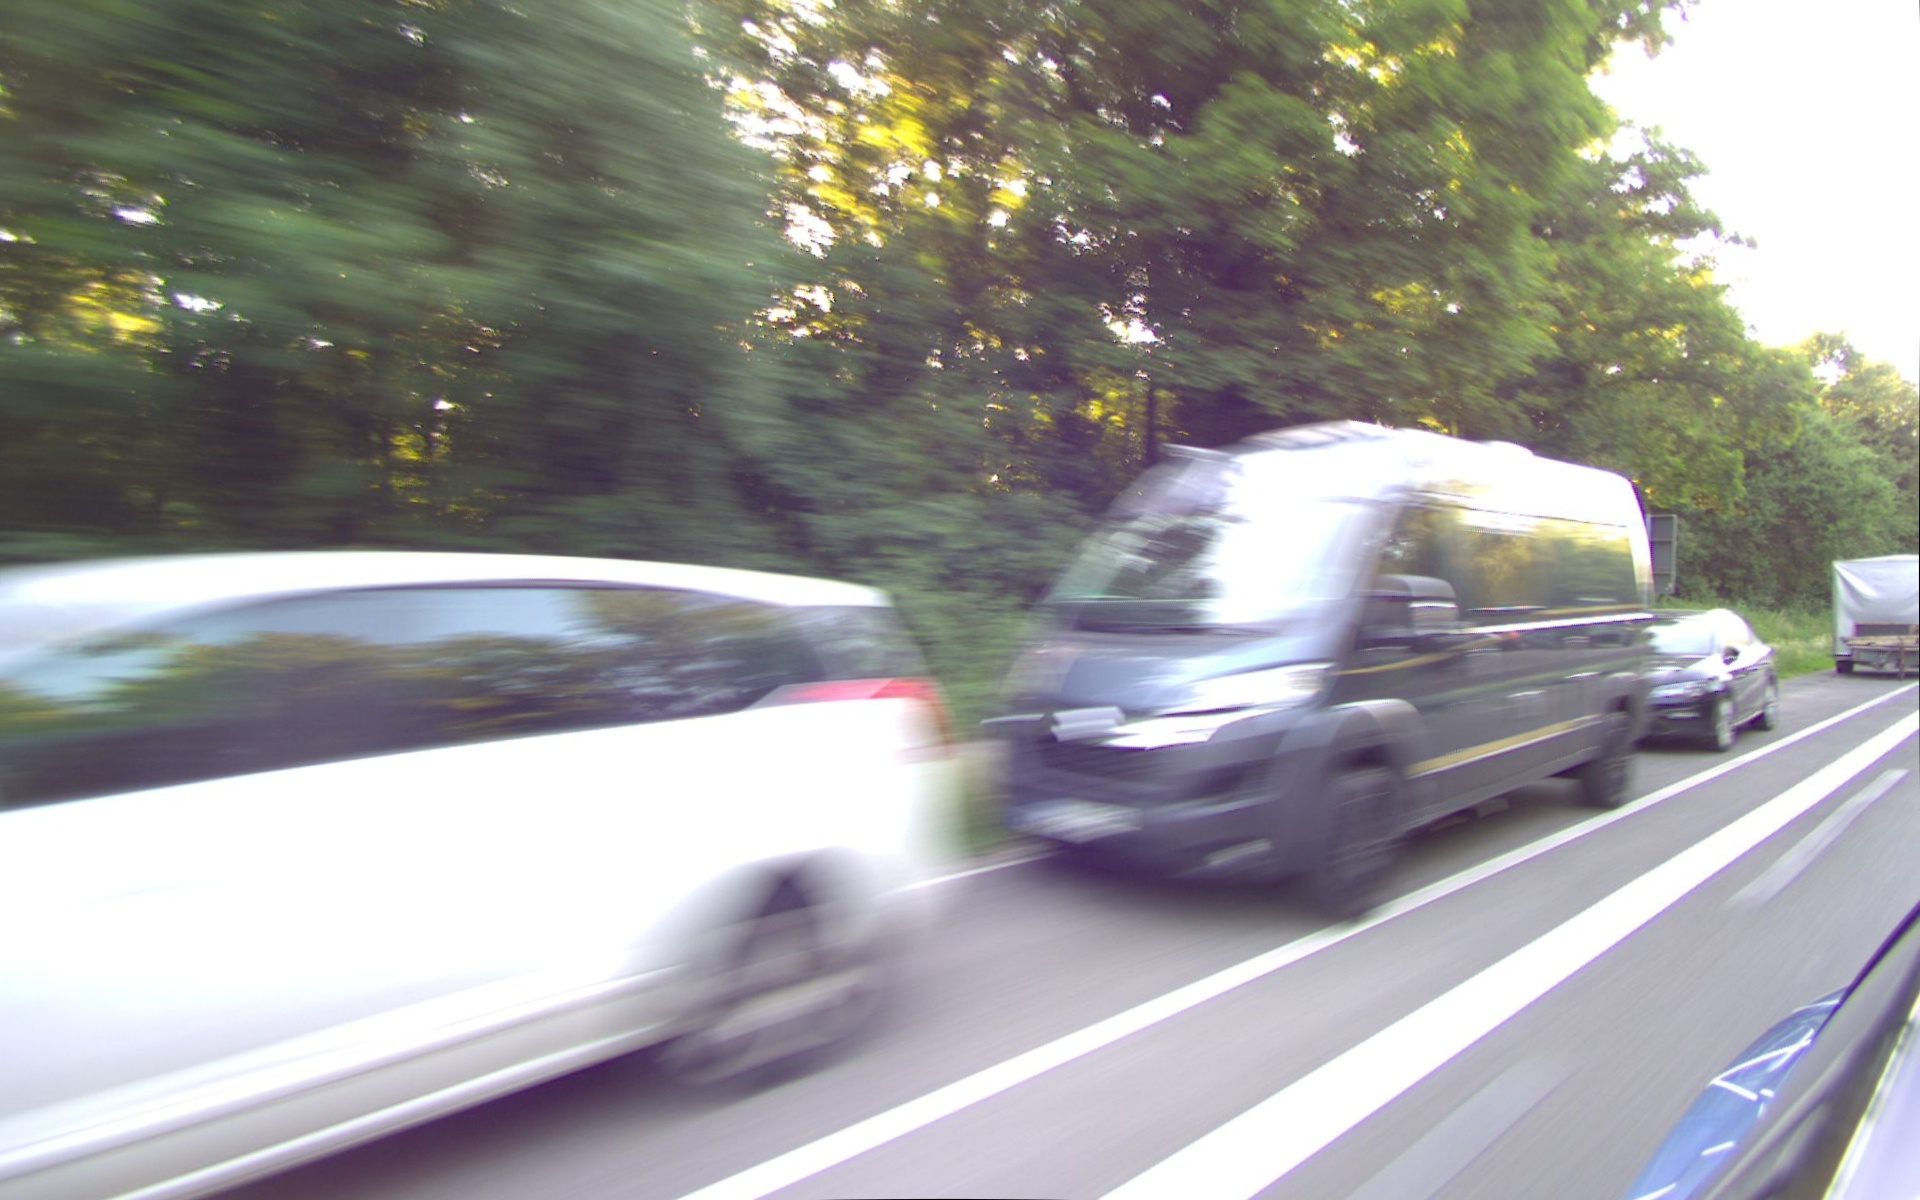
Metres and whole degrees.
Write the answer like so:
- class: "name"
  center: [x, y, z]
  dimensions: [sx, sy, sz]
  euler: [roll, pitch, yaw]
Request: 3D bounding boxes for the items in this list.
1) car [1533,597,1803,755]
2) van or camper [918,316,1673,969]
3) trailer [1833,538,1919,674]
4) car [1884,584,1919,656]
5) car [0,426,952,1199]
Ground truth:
- class: "car"
  center: [8.298, 0.720, 11.689]
  dimensions: [4.456, 1.495, 1.605]
  euler: [0, -1, -42]
- class: "van or camper"
  center: [2.692, 0.135, 6.786]
  dimensions: [5.956, 2.573, 2.130]
  euler: [-1, 0, -42]
- class: "trailer"
  center: [20.181, 0.097, 21.520]
  dimensions: [4.196, 2.682, 1.864]
  euler: [-1, 0, -41]
- class: "car"
  center: [25.290, 0.501, 26.047]
  dimensions: [4.123, 1.762, 1.753]
  euler: [0, 1, -41]
- class: "car"
  center: [-2.339, 0.579, 2.579]
  dimensions: [4.645, 1.787, 1.853]
  euler: [0, 0, -43]
